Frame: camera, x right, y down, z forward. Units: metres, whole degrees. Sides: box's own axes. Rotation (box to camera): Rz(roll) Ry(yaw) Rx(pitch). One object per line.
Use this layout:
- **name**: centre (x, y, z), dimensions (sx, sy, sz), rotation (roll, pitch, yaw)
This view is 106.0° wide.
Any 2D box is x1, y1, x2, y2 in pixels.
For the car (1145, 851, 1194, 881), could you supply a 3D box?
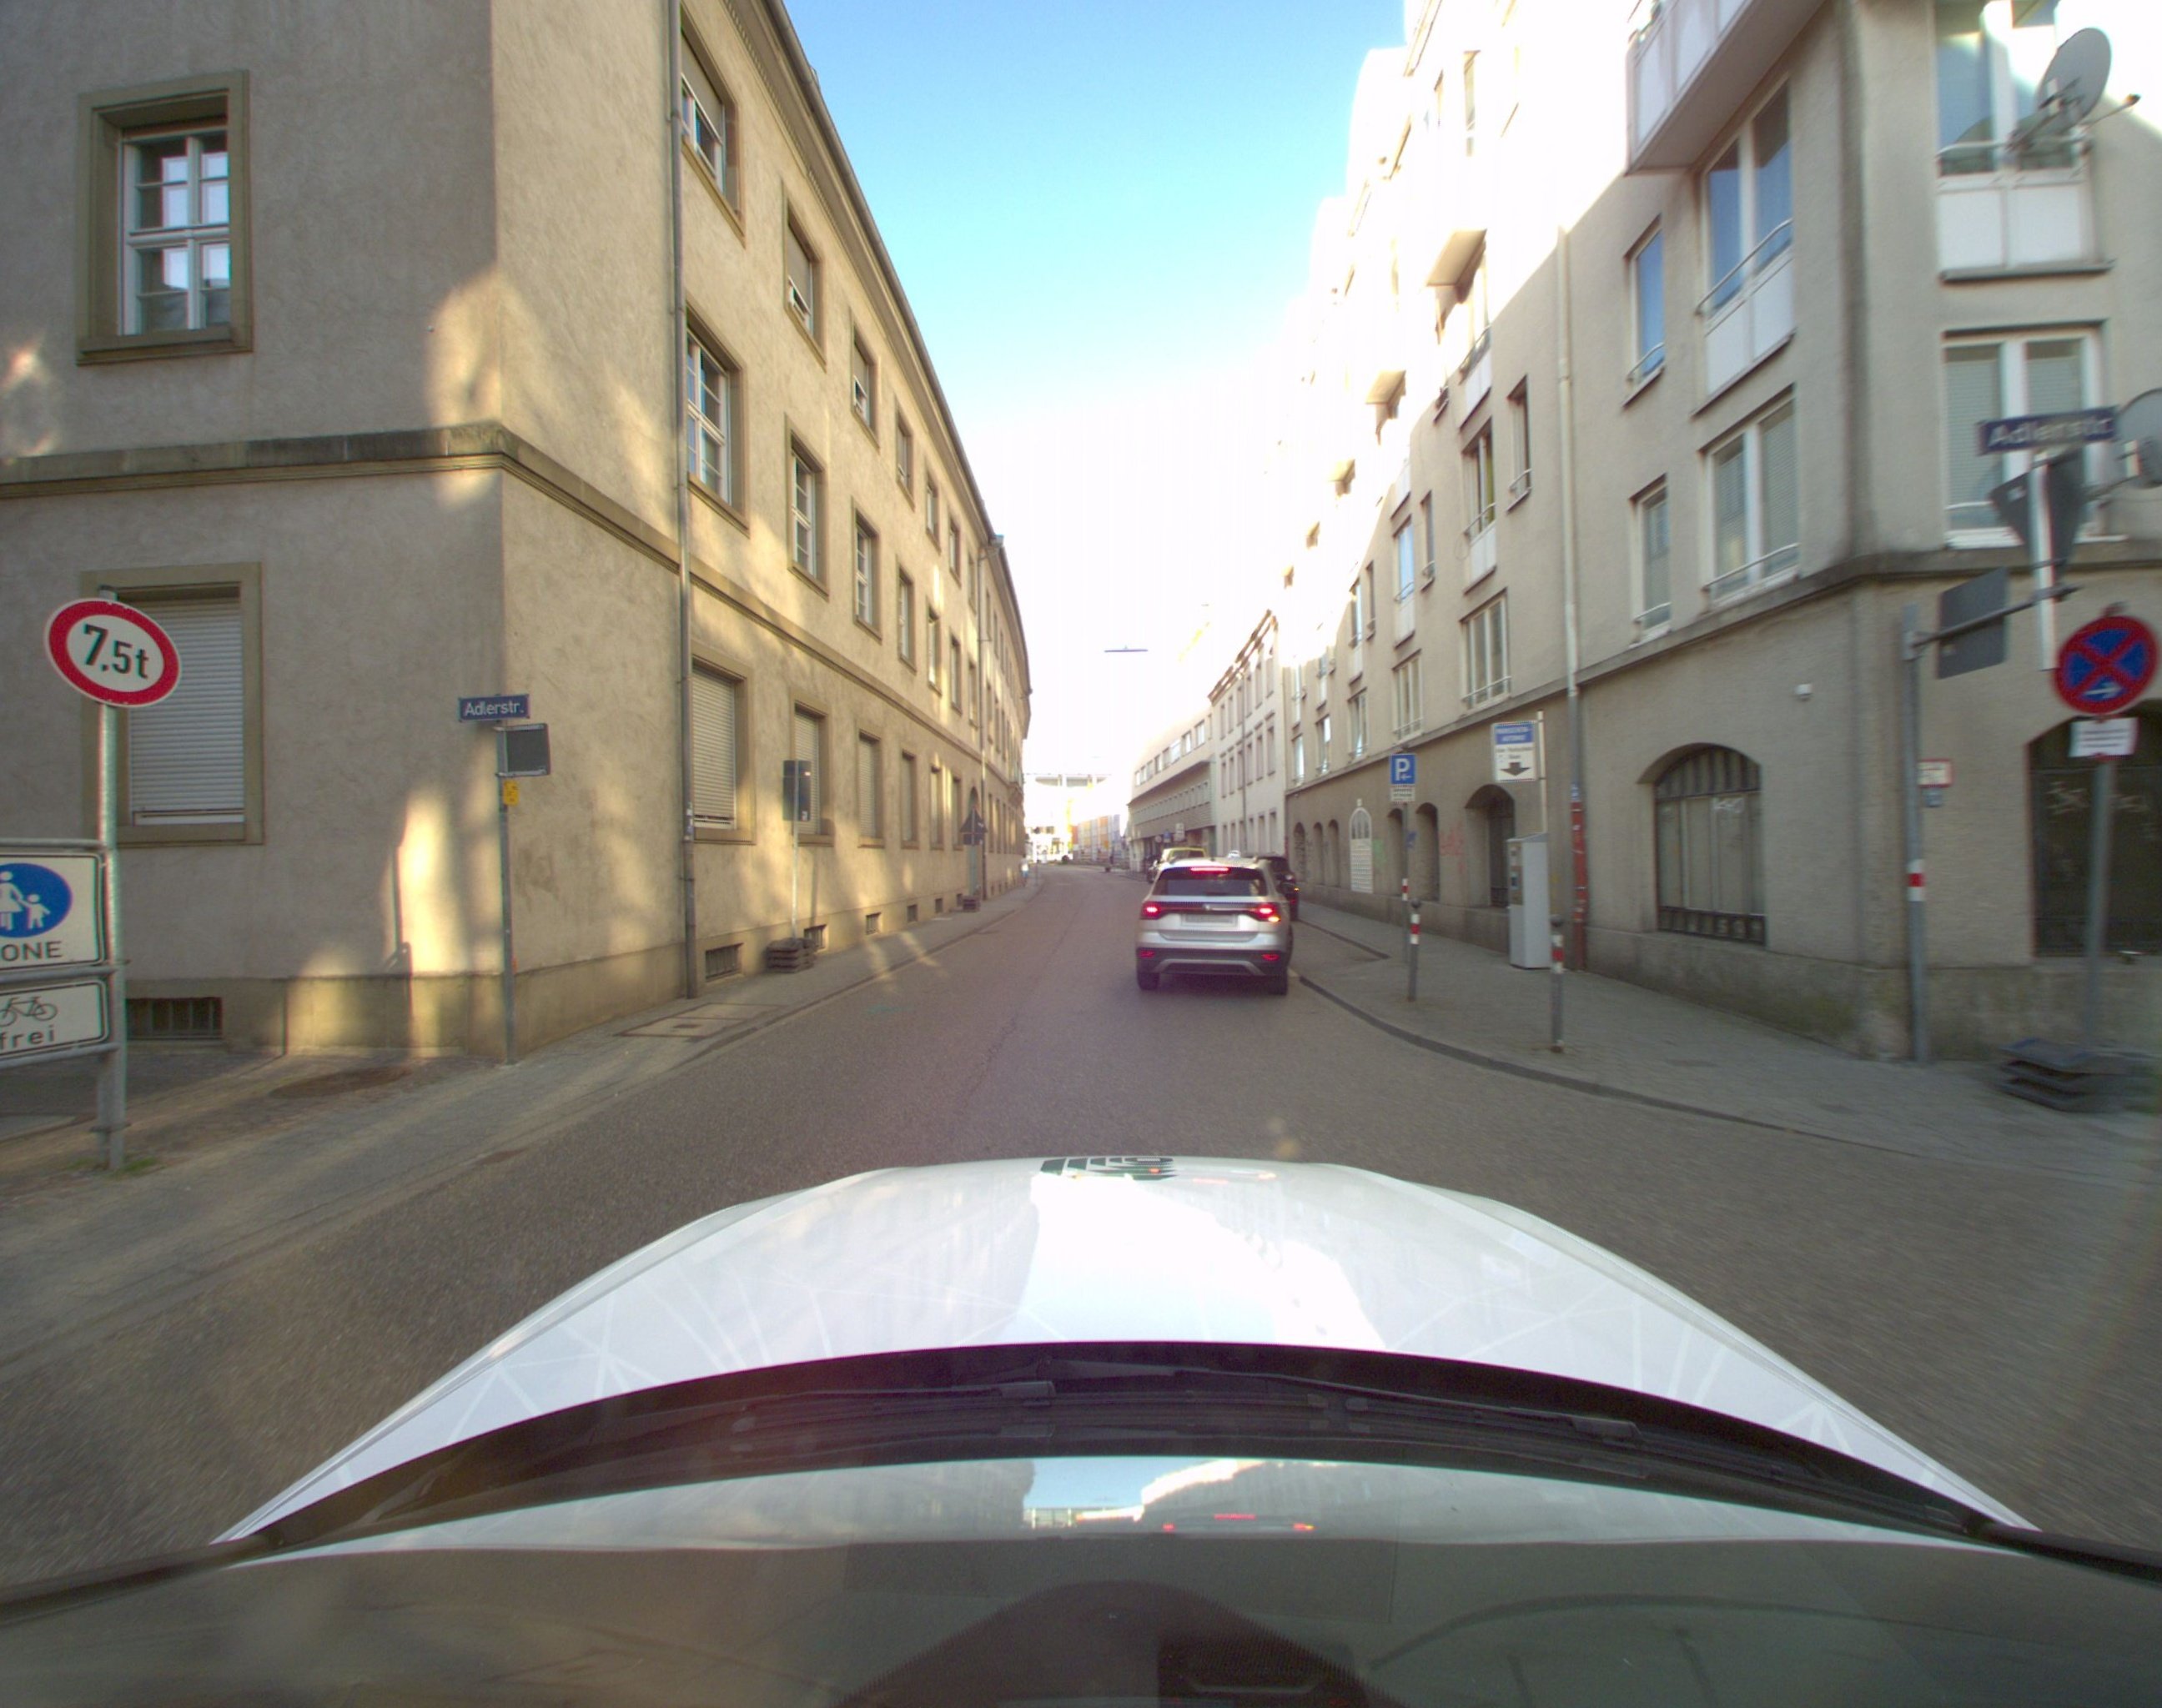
- **car**: centre (4.628, 0.605, 43.199), dimensions (1.879, 1.489, 4.363), rotation (0, 0, -3)

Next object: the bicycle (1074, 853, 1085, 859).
- **bicycle**: centre (-0.288, 0.341, 142.651), dimensions (1.754, 1.004, 0.611), rotation (-3, 0, -11)

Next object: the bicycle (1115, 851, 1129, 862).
- **bicycle**: centre (5.052, 0.323, 99.512), dimensions (1.643, 1.141, 0.282), rotation (-5, 1, -15)

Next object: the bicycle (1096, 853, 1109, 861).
- **bicycle**: centre (2.985, 0.434, 111.852), dimensions (1.746, 0.946, 0.551), rotation (-2, -1, -7)

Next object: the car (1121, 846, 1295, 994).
- **car**: centre (1.854, 0.688, 10.730), dimensions (1.811, 1.559, 4.003), rotation (0, 0, 15)

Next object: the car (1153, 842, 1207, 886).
- **car**: centre (4.531, 0.430, 37.924), dimensions (1.878, 1.882, 4.843), rotation (0, 0, -1)

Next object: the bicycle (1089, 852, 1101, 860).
- **bicycle**: centre (2.192, 0.320, 128.635), dimensions (1.809, 1.137, 0.550), rotation (-2, -1, -8)

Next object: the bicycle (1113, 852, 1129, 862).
- **bicycle**: centre (4.780, 0.353, 98.063), dimensions (1.746, 1.141, 0.551), rotation (-4, 1, -7)

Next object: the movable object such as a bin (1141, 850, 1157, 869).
- **movable object such as a bin**: centre (5.342, 0.427, 63.850), dimensions (0.979, 1.385, 1.319), rotation (-3, -2, -4)

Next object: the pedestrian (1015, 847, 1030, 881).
- **pedestrian**: centre (-2.975, 0.506, 41.609), dimensions (0.691, 1.670, 0.874), rotation (1, -1, -2)

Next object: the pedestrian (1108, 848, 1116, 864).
- **pedestrian**: centre (3.547, 0.197, 93.417), dimensions (0.696, 1.760, 1.186), rotation (-4, 0, -6)

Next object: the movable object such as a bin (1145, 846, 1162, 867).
- **movable object such as a bin**: centre (5.538, 0.180, 62.235), dimensions (0.979, 1.480, 1.549), rotation (-3, -2, -4)

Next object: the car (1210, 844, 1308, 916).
- **car**: centre (4.500, 0.587, 21.170), dimensions (1.817, 1.654, 4.498), rotation (0, 0, 3)
